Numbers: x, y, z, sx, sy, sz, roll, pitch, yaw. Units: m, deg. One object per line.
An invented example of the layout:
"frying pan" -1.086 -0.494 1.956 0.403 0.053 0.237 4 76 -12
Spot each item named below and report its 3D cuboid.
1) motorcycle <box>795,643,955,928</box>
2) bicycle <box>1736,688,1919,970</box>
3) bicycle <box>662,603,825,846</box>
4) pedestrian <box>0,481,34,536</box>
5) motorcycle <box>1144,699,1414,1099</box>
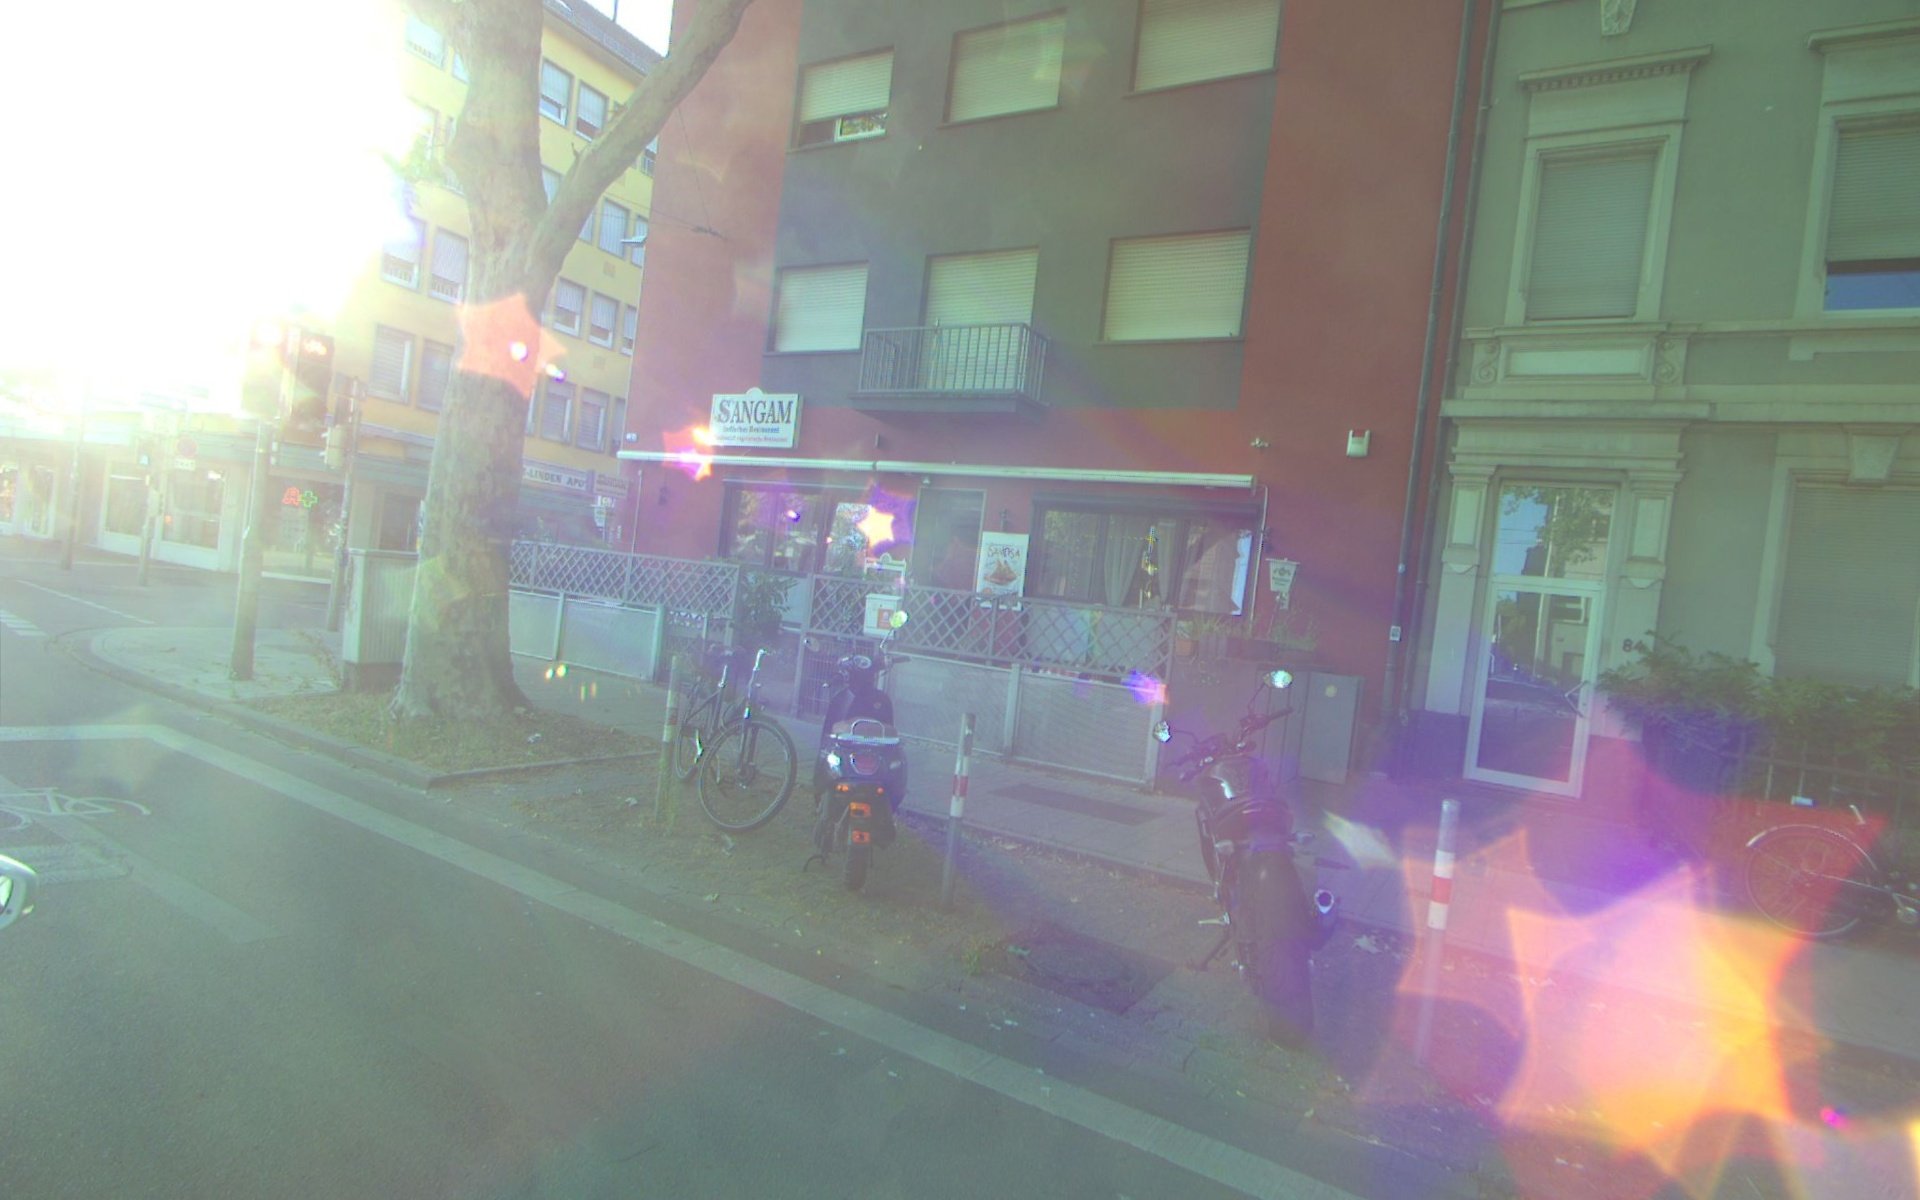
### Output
"motorcycle" -0.552 0.915 5.658 0.591 1.166 1.994 6 0 -10
"bicycle" 5.855 1.374 5.510 2.356 1.443 0.608 6 -1 32
"bicycle" -1.502 0.741 6.684 0.686 1.219 1.837 8 2 -20
"pedestrian" -37.536 -3.630 39.698 0.912 2.039 0.990 6 1 -6
"motorcycle" 1.307 1.151 4.623 0.752 1.077 2.212 7 2 9
